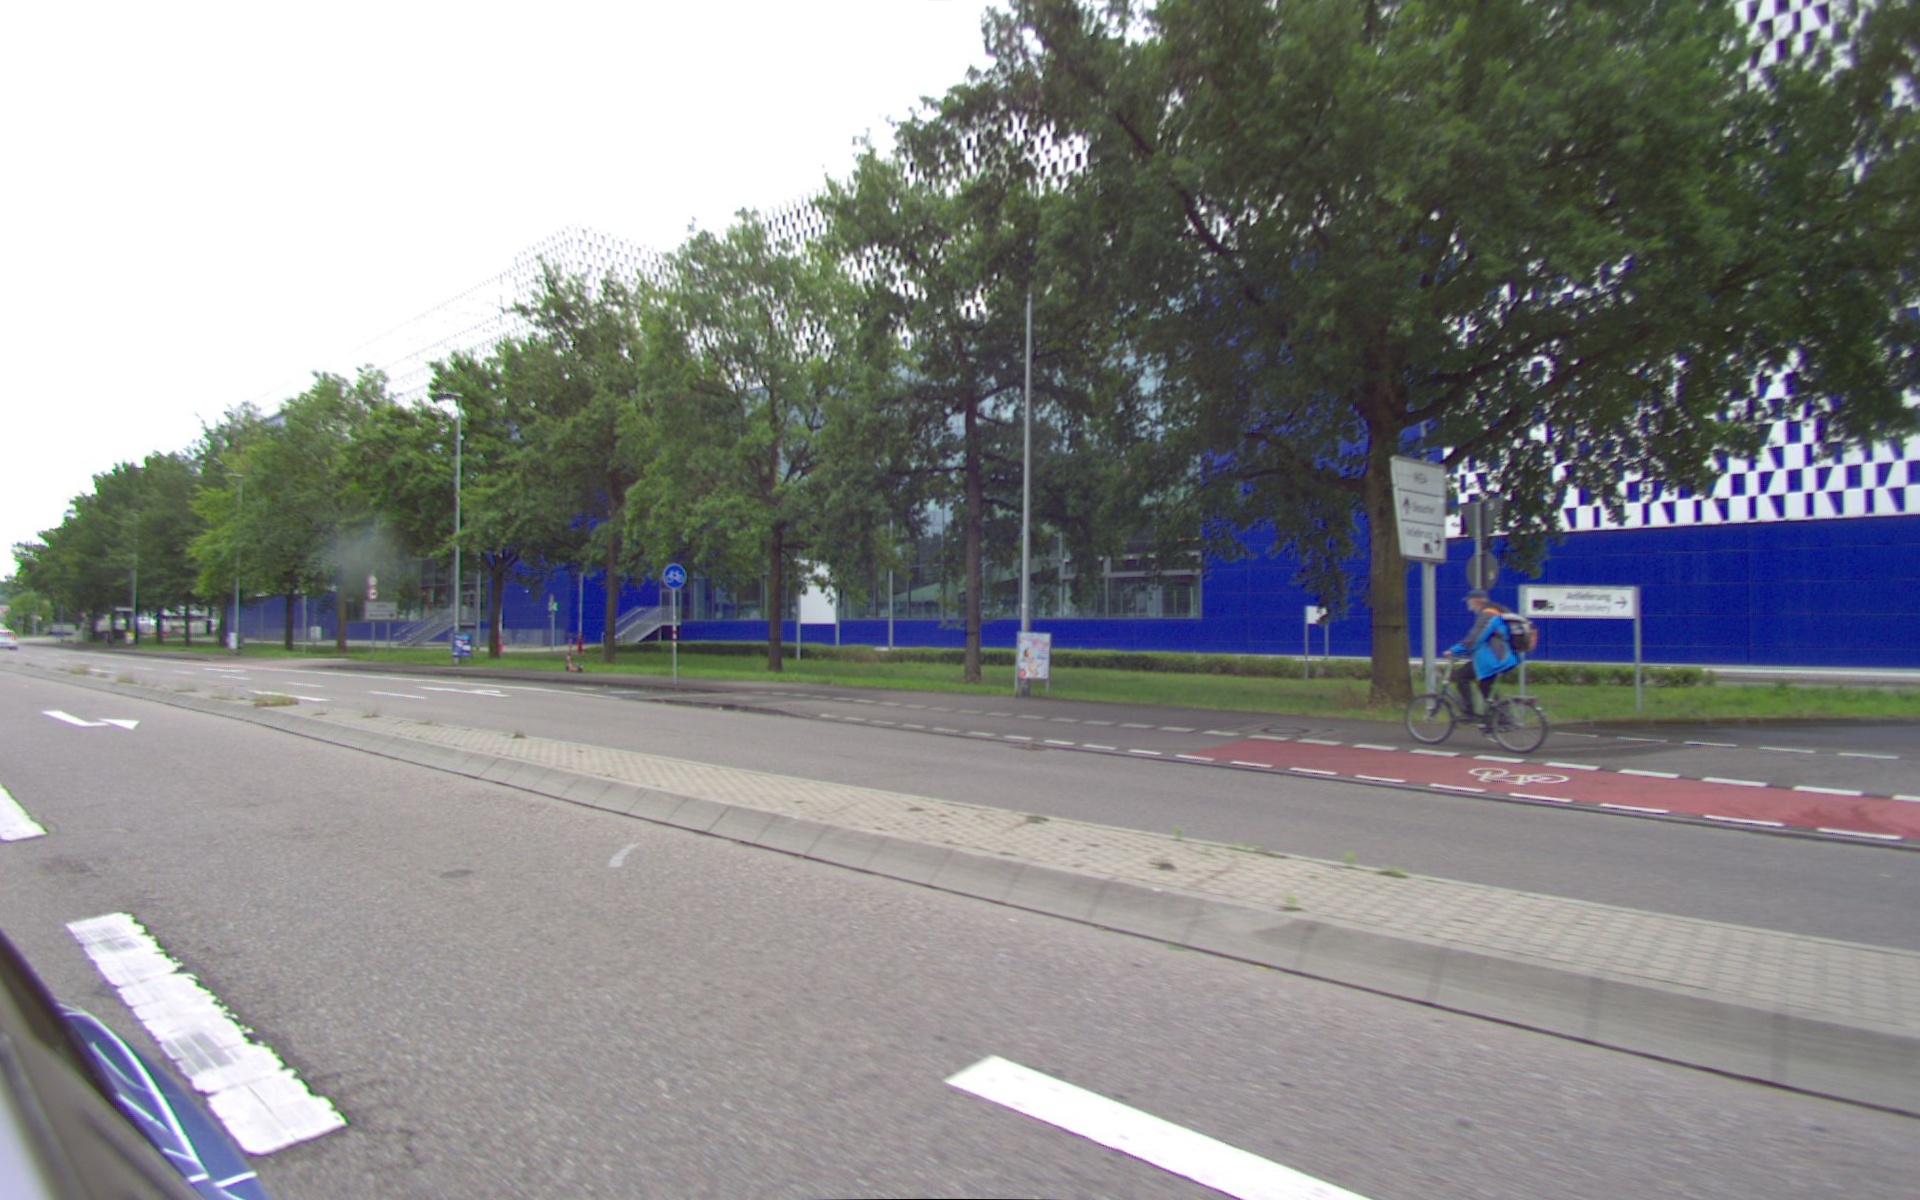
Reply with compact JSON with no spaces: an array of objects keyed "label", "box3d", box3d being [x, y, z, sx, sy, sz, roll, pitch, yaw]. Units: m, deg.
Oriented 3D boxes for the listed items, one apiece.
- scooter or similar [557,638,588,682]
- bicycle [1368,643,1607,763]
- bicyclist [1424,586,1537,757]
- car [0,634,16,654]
[{"label":"scooter or similar","box3d":[-12.096,1.843,31.540,0.441,1.332,1.508,2,-3,-39]},{"label":"bicycle","box3d":[6.081,1.138,11.790,2.369,1.196,0.705,-1,0,41]},{"label":"bicyclist","box3d":[6.063,0.793,11.802,1.019,1.888,0.694,-1,0,41]},{"label":"car","box3d":[-72.477,3.288,76.039,3.645,1.439,1.660,-2,-4,38]}]
